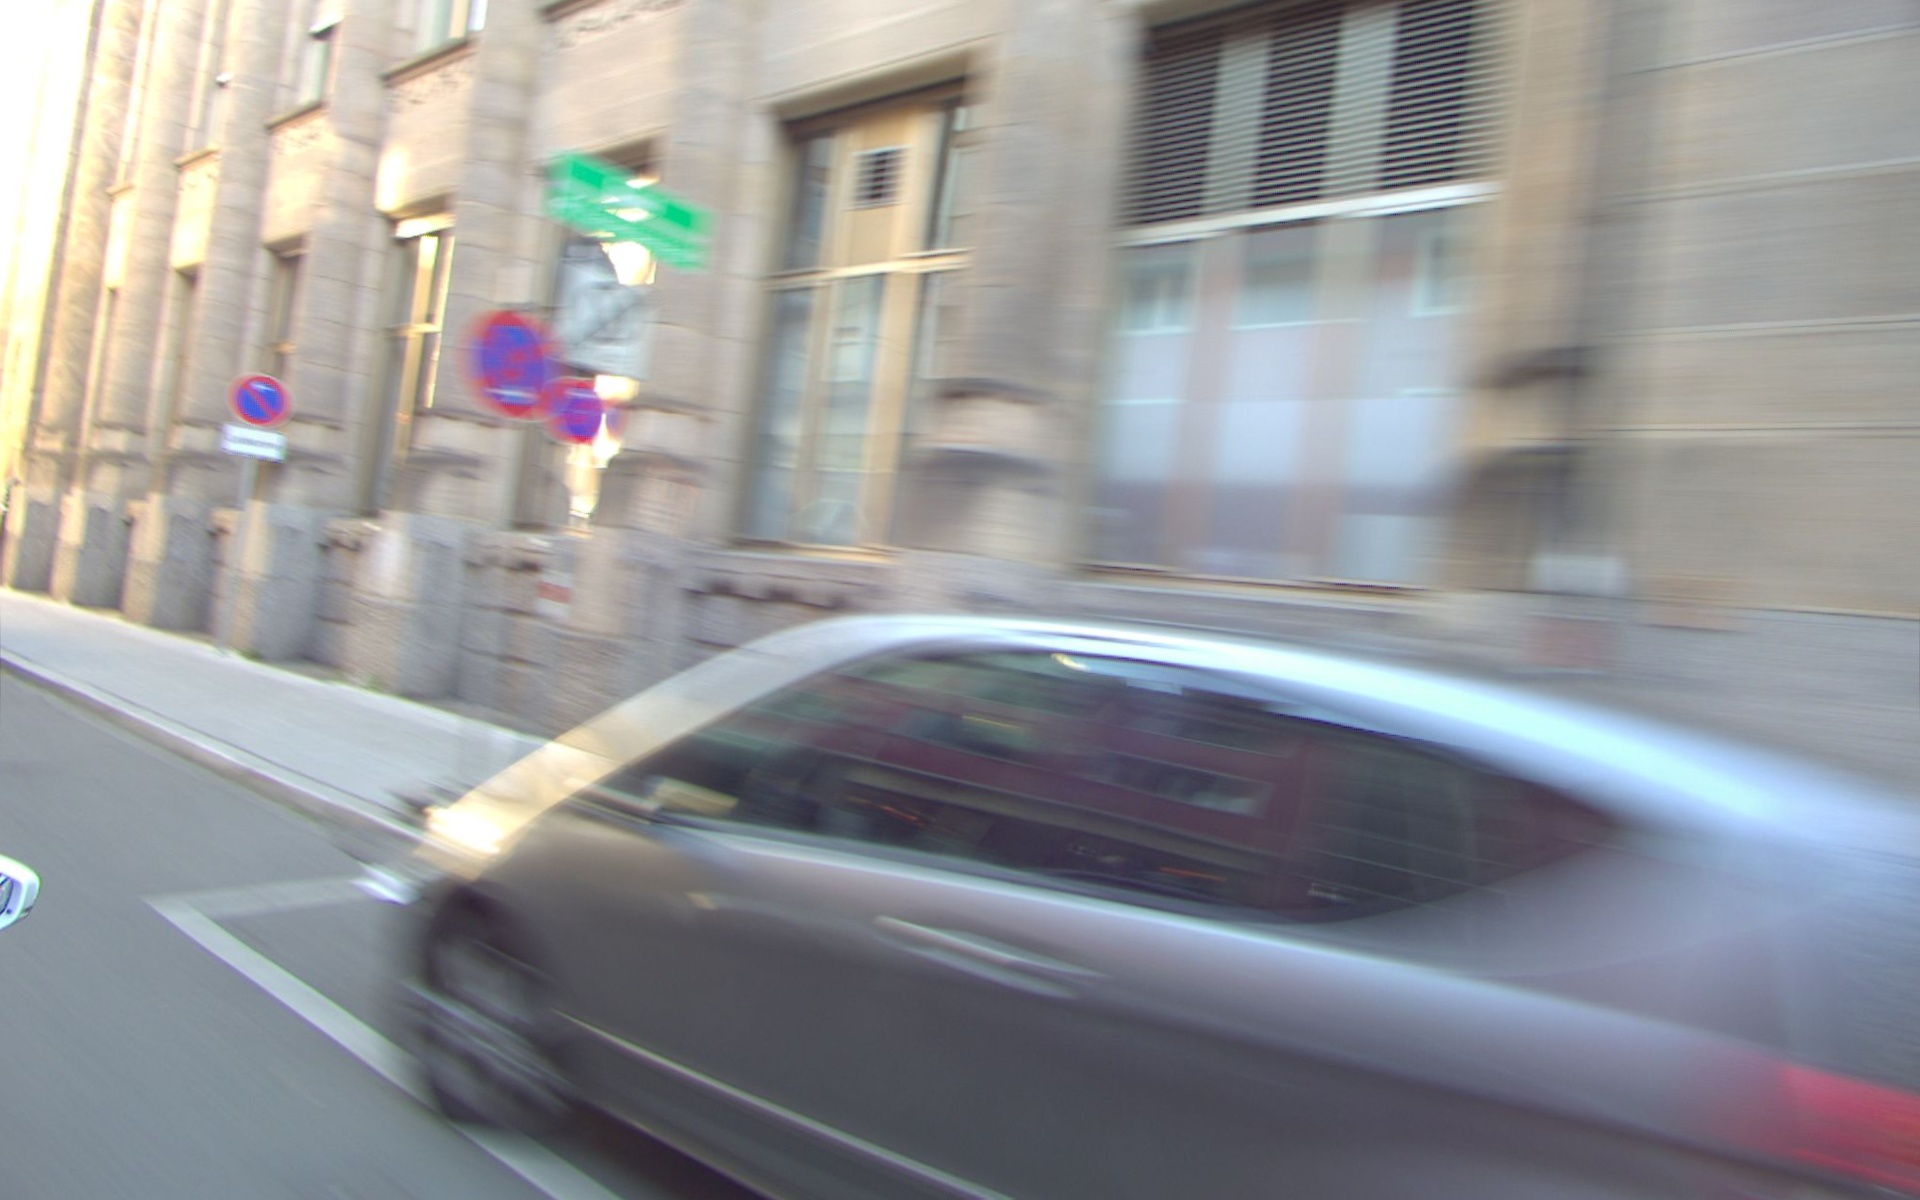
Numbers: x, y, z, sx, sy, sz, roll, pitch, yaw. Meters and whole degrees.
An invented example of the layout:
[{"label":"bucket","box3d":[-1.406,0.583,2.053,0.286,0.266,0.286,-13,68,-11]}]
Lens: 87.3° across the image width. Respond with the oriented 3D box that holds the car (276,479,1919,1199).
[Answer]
[{"label":"car","box3d":[0.137,0.745,2.798,3.934,1.685,1.777,6,-2,32]}]
